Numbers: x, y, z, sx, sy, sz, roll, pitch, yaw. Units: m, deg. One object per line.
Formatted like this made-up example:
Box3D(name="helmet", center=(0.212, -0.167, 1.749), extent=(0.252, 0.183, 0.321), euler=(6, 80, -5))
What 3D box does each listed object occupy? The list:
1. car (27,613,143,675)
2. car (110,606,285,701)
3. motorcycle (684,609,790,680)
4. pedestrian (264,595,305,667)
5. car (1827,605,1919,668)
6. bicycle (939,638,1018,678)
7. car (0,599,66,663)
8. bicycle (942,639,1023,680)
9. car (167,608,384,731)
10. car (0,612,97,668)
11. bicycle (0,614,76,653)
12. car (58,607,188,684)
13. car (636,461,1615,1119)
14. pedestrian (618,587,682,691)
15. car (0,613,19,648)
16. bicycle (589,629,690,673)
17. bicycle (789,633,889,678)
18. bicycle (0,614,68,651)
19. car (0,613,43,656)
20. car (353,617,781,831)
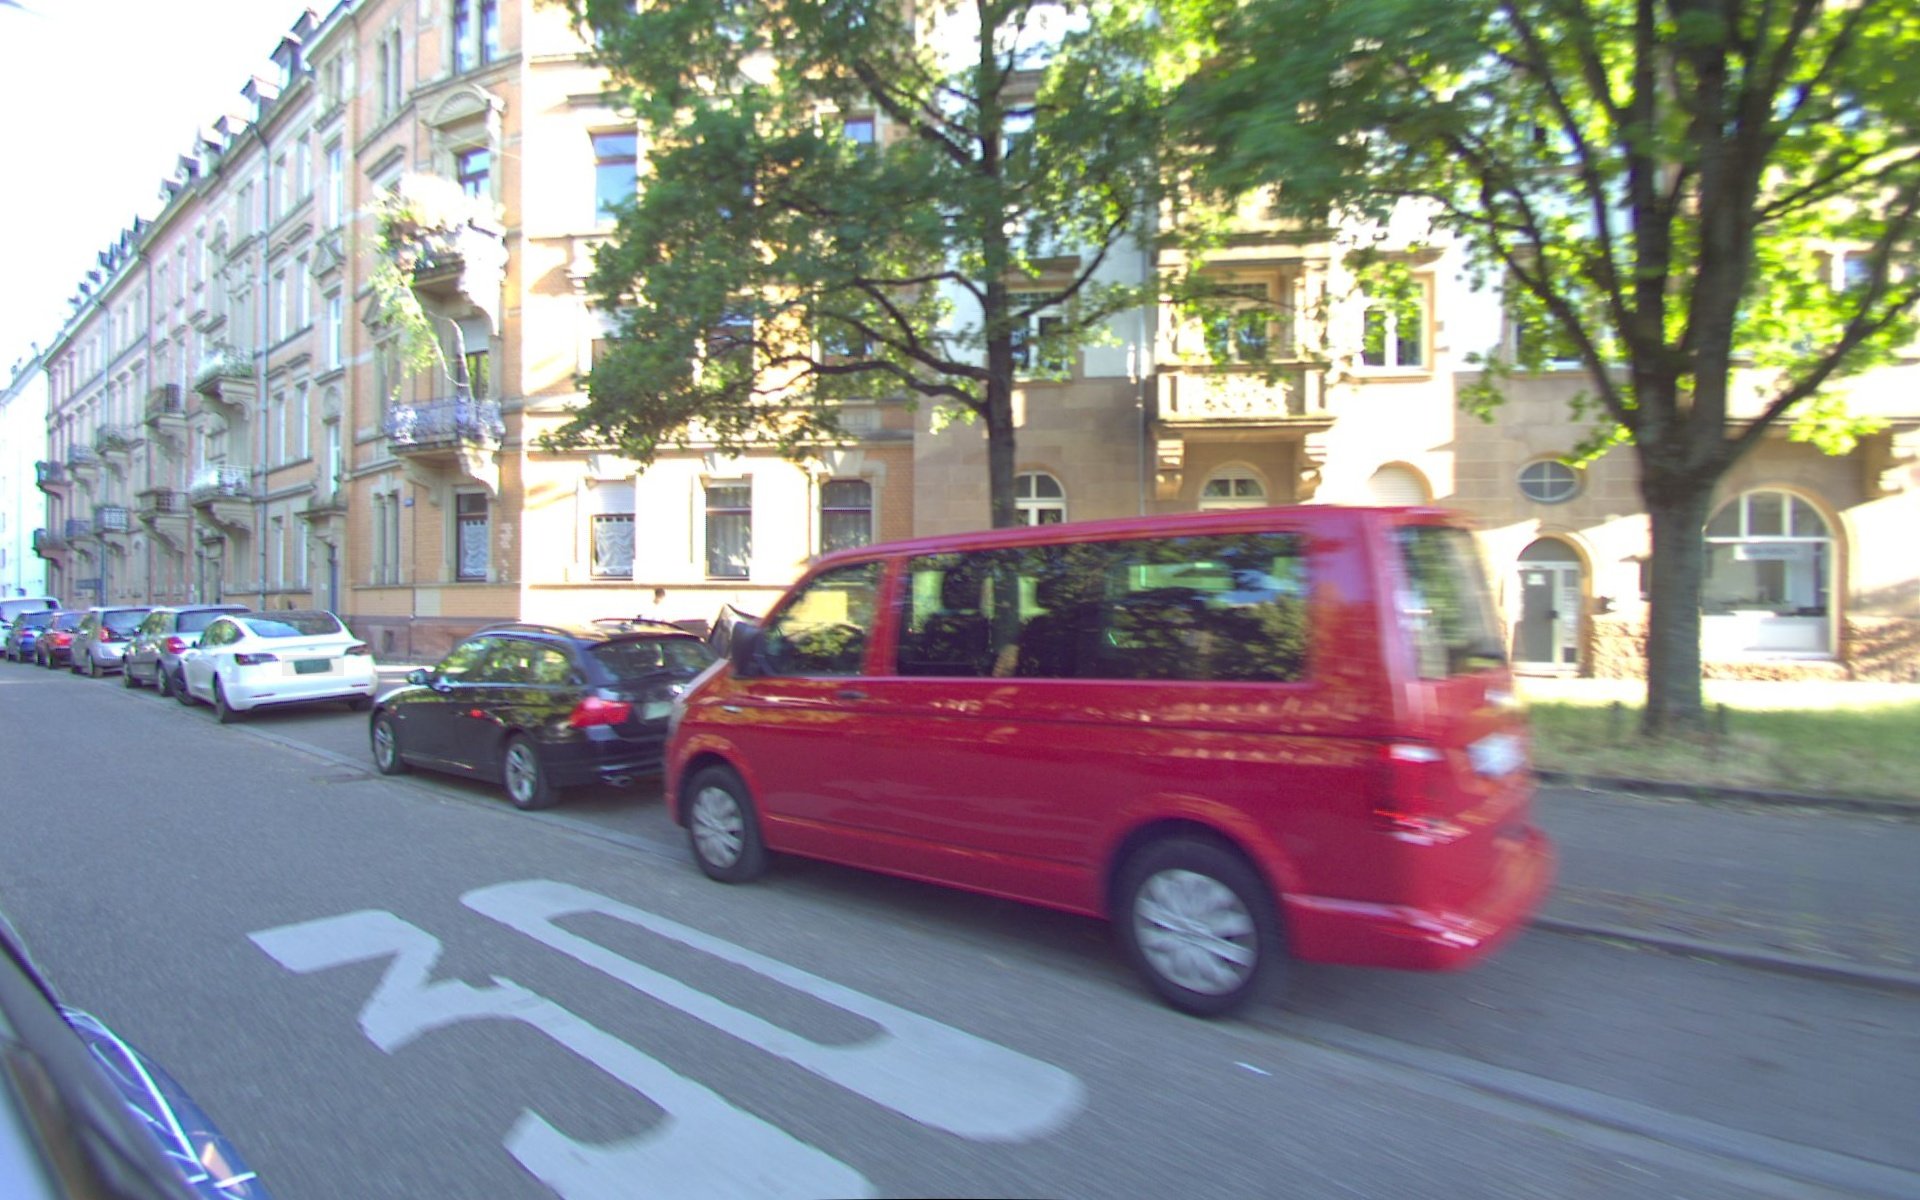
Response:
Box3D(name="car", center=(-22.300, 1.049, 25.738), extent=(4.289, 1.394, 1.744), euler=(-1, 1, 43))
Box3D(name="car", center=(-13.755, 0.889, 18.194), extent=(3.878, 1.486, 1.667), euler=(-1, 1, 40))
Box3D(name="motorcycle", center=(-4.362, 0.872, 19.872), extent=(1.875, 1.363, 0.808), euler=(-1, -2, 6))
Box3D(name="pedestrian", center=(-16.515, 0.743, 24.748), extent=(0.722, 1.731, 0.666), euler=(-1, 1, 44))
Box3D(name="car", center=(22.307, 0.829, 23.149), extent=(1.852, 1.410, 3.990), euler=(0, -1, 8))
Box3D(name="bicycle", center=(0.367, 1.106, 19.414), extent=(1.491, 0.738, 0.368), euler=(0, -1, 6))
Box3D(name="car", center=(-30.481, 0.978, 32.619), extent=(4.723, 1.897, 1.887), euler=(-1, 1, 41))
Box3D(name="bicycle", center=(0.426, 1.104, 18.996), extent=(1.491, 0.738, 0.414), euler=(0, -1, 6))
Box3D(name="car", center=(-10.107, 0.902, 14.815), extent=(4.271, 1.486, 1.756), euler=(-1, 1, 44))
Box3D(name="car", center=(-26.195, 1.091, 28.964), extent=(3.886, 1.449, 1.745), euler=(-1, 1, 41))
Box3D(name="bicycle", center=(-37.114, 1.319, 40.118), extent=(0.817, 1.496, 3.003), euler=(-1, -2, 42))
Box3D(name="car", center=(-18.405, 0.939, 22.216), extent=(3.708, 1.486, 1.666), euler=(-1, 1, 42))
Box3D(name="car", center=(0.425, 0.572, 5.233), extent=(4.770, 1.948, 1.758), euler=(-1, 0, 41))
Box3D(name="pedestrian", center=(-5.392, 0.664, 17.643), extent=(0.898, 1.731, 0.676), euler=(-1, 2, -5))
Box3D(name="car", center=(-41.438, 1.304, 42.893), extent=(4.391, 1.452, 1.856), euler=(-1, 1, 41))
Box3D(name="bicycle", center=(-6.416, 1.014, 20.292), extent=(1.875, 0.854, 0.524), euler=(-1, -2, 6))
Box3D(name="bicycle", center=(-2.357, 1.089, 19.820), extent=(1.875, 0.854, 0.524), euler=(-1, -2, 6))
Box3D(name="bicycle", center=(-39.023, 1.337, 41.898), extent=(0.817, 1.496, 3.003), euler=(-1, -2, 42))
Box3D(name="car", center=(-34.681, 1.240, 36.533), extent=(4.391, 1.452, 1.856), euler=(-1, 1, 41))
Box3D(name="car", center=(-3.698, 0.908, 9.152), extent=(4.267, 1.444, 1.758), euler=(-1, 1, 40))
